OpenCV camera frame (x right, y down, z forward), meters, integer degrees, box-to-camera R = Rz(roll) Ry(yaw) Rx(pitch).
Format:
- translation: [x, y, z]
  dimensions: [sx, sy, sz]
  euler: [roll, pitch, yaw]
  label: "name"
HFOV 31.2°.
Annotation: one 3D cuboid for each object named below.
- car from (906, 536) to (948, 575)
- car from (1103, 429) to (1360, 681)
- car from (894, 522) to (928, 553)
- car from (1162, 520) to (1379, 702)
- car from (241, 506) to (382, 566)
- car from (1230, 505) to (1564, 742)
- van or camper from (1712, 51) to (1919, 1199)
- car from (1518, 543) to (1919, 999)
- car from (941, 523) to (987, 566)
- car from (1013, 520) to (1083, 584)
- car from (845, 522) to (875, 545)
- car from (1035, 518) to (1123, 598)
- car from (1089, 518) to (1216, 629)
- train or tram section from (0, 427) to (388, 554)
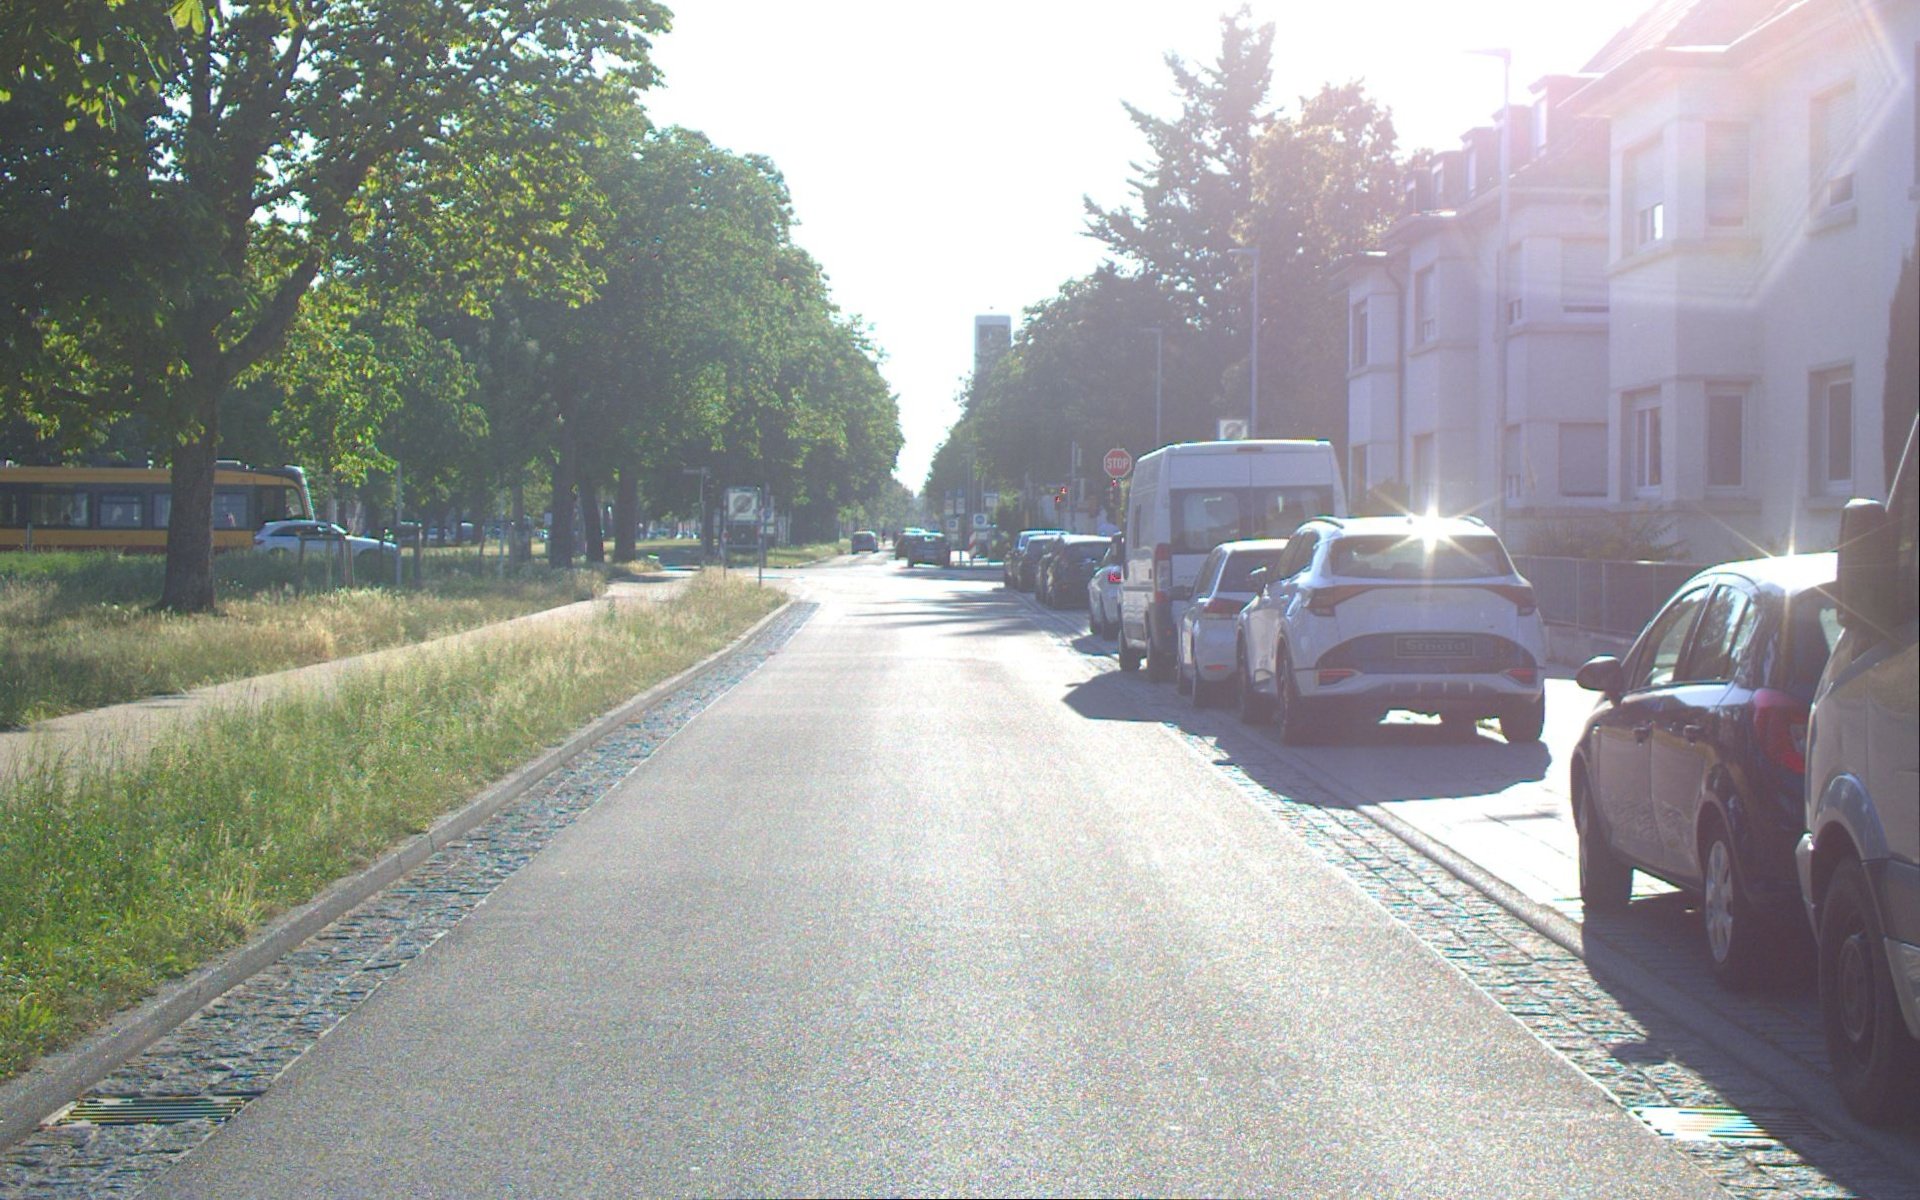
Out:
- translation: [-1.360, -1.859, 143.433]
  dimensions: [1.650, 1.525, 3.851]
  euler: [-1, 2, 1]
  label: "car"
- translation: [2.858, -0.530, 37.369]
  dimensions: [2.126, 2.524, 5.189]
  euler: [-1, 2, -3]
  label: "car"
- translation: [-2.532, -3.232, 177.198]
  dimensions: [1.650, 1.525, 3.851]
  euler: [-1, 2, 1]
  label: "car"
- translation: [2.773, 0.051, 31.408]
  dimensions: [1.650, 1.525, 3.851]
  euler: [-1, 2, 1]
  label: "car"
- translation: [-20.762, -2.049, 110.211]
  dimensions: [4.345, 1.758, 2.001]
  euler: [1, 1, -9]
  label: "car"
- translation: [3.204, 0.106, 25.996]
  dimensions: [1.837, 1.630, 4.132]
  euler: [-1, 2, -2]
  label: "car"
- translation: [3.272, 0.091, 7.250]
  dimensions: [1.943, 2.768, 5.940]
  euler: [2, 1, -1]
  label: "van or camper"
- translation: [3.326, 0.526, 13.231]
  dimensions: [1.621, 1.406, 3.969]
  euler: [-3, 1, 0]
  label: "car"
- translation: [0.156, -2.031, 124.971]
  dimensions: [1.650, 1.525, 3.851]
  euler: [-1, 2, 1]
  label: "car"
- translation: [2.184, -1.214, 86.144]
  dimensions: [1.650, 1.525, 3.851]
  euler: [-1, 2, 1]
  label: "car"
- translation: [-6.740, -4.507, 231.986]
  dimensions: [1.811, 1.525, 3.851]
  euler: [-1, 2, 1]
  label: "car"
- translation: [2.375, -0.859, 69.107]
  dimensions: [1.650, 1.525, 3.851]
  euler: [-1, 2, 1]
  label: "car"
- translation: [2.774, -0.413, 50.066]
  dimensions: [1.650, 1.525, 3.851]
  euler: [-1, 2, 1]
  label: "car"
- translation: [-29.780, -3.821, 118.295]
  dimensions: [19.778, 3.942, 3.645]
  euler: [1, 1, -8]
  label: "train or tram section"
